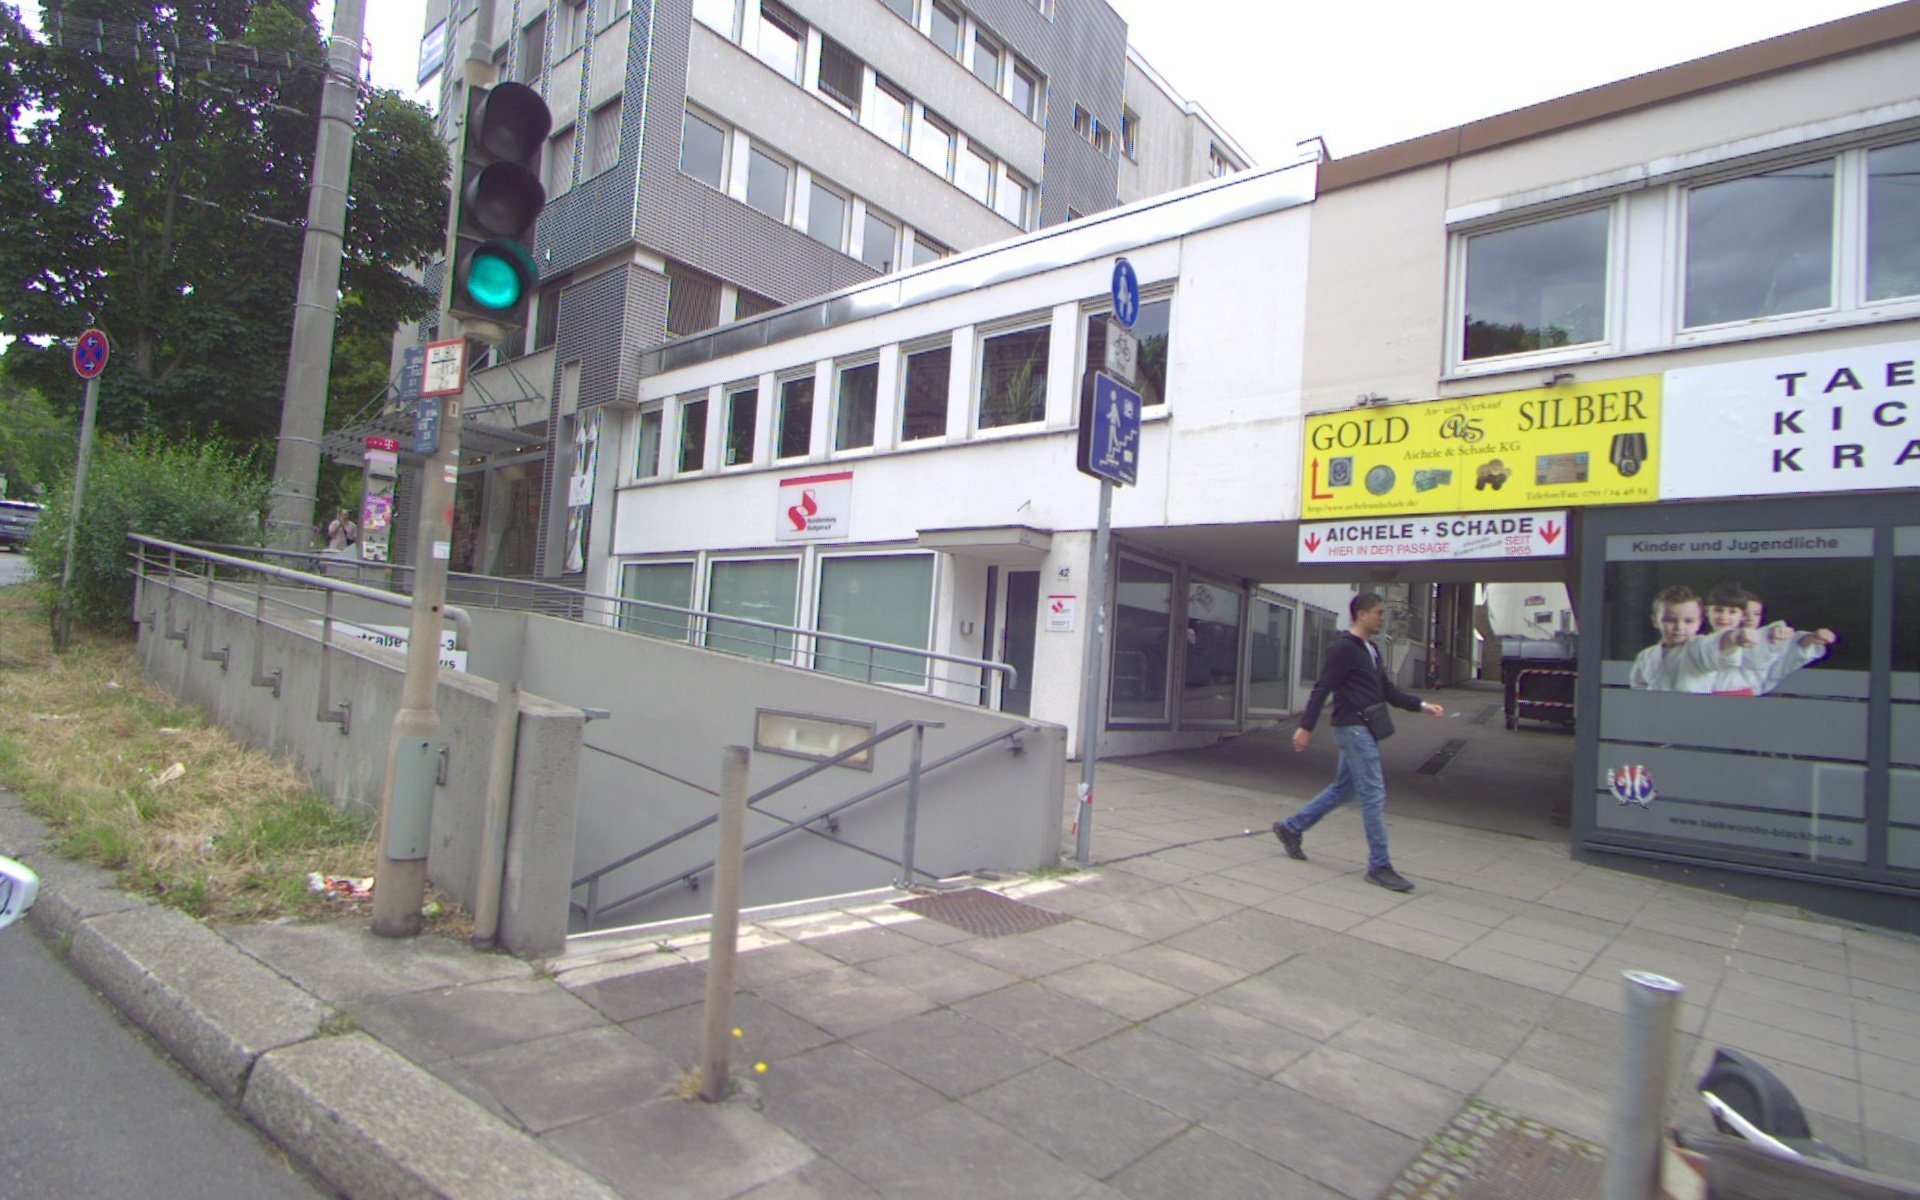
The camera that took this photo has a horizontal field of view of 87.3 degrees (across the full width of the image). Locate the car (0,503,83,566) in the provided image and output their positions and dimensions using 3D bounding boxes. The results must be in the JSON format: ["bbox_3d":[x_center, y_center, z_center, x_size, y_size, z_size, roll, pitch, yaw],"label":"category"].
[{"bbox_3d":[-30.892,-2.197,33.440,1.828,1.760,3.966,9,-1,-32],"label":"car"}]

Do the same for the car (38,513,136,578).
[{"bbox_3d":[-27.261,-1.643,31.540,1.895,1.590,3.798,11,-5,-37],"label":"car"}]

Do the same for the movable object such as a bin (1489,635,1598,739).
[{"bbox_3d":[9.478,1.368,16.336,1.332,1.476,1.236,5,3,36],"label":"movable object such as a bin"}]

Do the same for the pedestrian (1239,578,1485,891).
[{"bbox_3d":[2.663,0.830,6.706,0.831,1.833,1.136,5,0,-44],"label":"pedestrian"}]

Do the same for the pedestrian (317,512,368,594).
[{"bbox_3d":[-14.444,-1.099,23.535,0.600,1.815,0.673,6,-2,41],"label":"pedestrian"}]

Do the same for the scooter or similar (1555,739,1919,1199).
[{"bbox_3d":[2.508,1.116,2.798,0.573,1.196,1.444,7,0,-7],"label":"scooter or similar"}]

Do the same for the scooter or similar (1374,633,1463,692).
[{"bbox_3d":[11.561,1.566,25.402,1.788,1.293,0.777,3,-5,45],"label":"scooter or similar"}]
